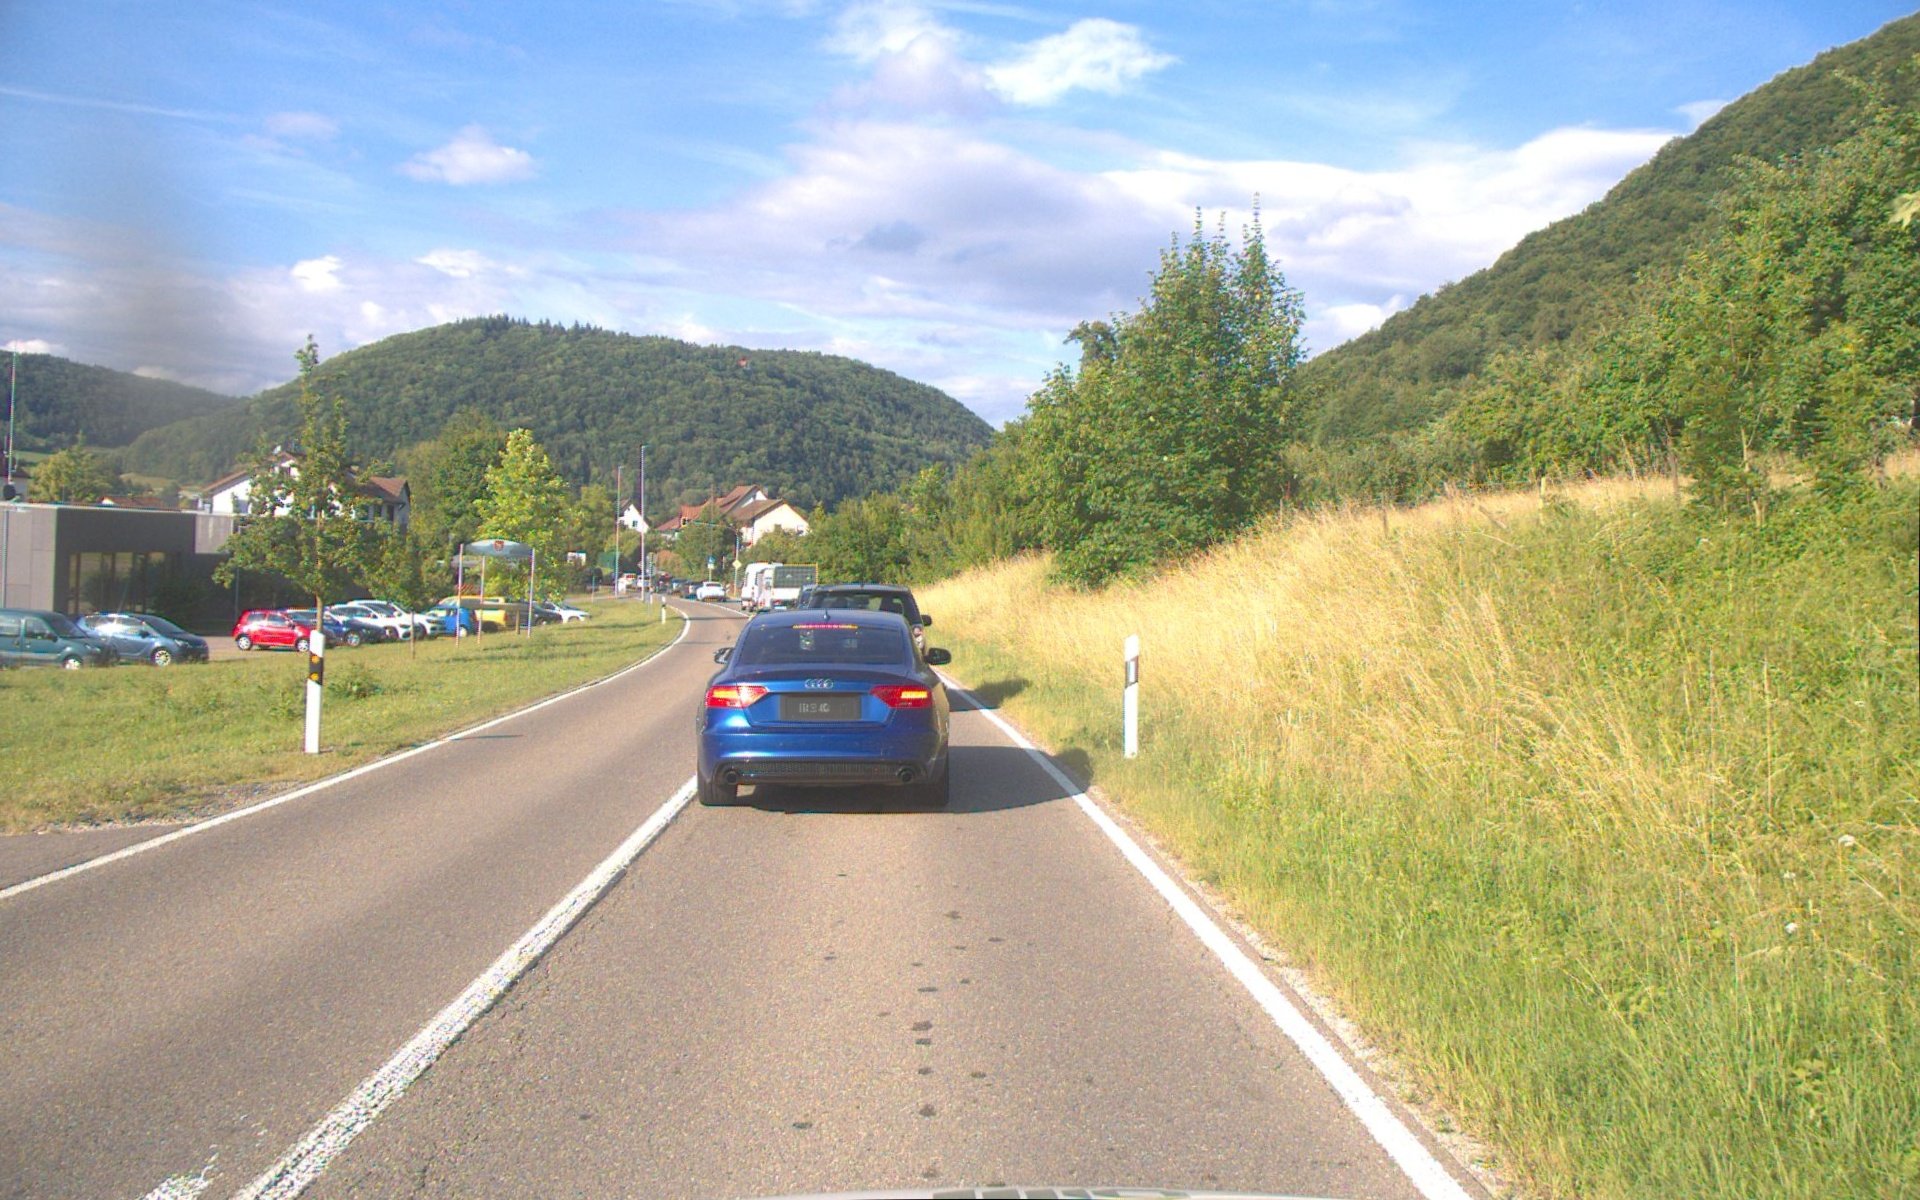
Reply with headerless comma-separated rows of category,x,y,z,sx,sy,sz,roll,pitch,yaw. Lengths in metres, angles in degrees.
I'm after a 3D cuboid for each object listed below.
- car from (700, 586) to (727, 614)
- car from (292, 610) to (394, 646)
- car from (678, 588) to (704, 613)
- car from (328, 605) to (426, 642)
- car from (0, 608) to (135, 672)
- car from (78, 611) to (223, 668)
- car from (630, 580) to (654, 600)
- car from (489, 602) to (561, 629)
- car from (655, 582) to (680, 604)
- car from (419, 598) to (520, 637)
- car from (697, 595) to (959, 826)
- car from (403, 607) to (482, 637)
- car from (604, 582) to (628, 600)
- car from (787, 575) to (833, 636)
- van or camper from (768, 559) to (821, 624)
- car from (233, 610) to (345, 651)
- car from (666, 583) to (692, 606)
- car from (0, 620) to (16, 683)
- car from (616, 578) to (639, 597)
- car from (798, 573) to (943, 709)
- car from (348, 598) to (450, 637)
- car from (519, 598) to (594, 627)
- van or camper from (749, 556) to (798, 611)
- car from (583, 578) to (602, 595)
car,-17.906,-0.009,120.092,1.631,1.958,3.986,-1,0,-13
car,-25.190,1.142,67.538,3.548,1.429,1.597,0,0,4
car,-21.468,0.071,131.997,1.632,1.958,3.984,-1,0,-15
car,-24.918,0.989,70.771,3.589,1.520,1.598,0,1,4
car,-26.156,1.136,47.758,3.782,1.752,1.756,1,0,1
car,-25.576,1.224,52.333,3.738,1.752,1.733,0,0,3
car,-31.782,-0.958,165.073,1.653,1.958,3.974,-1,0,-22
car,-24.405,0.867,92.828,3.634,1.464,1.510,0,0,4
car,-27.166,-0.642,153.532,1.652,1.958,3.977,-1,0,-20
car,-24.467,0.882,82.619,4.457,1.847,1.841,0,-3,4
car,-0.995,0.717,12.634,1.708,1.476,3.514,0,0,-4
car,-25.028,1.046,80.044,3.302,1.397,1.659,0,0,-4
car,-37.782,-1.000,181.648,1.927,1.958,3.975,-1,0,-21
car,-5.277,0.167,58.165,1.537,2.049,3.995,-1,0,-5
van or camper,-6.825,-0.340,67.760,2.013,2.549,5.802,-1,0,-7
car,-25.324,1.142,62.476,3.548,1.469,1.649,0,0,4
car,-24.476,-0.493,143.801,1.634,1.958,3.979,-1,0,-18
car,-26.424,1.333,42.083,3.837,1.606,1.756,0,0,3
car,-35.010,-1.257,174.060,1.654,1.958,3.972,-1,0,-23
car,-1.274,0.503,22.269,1.615,1.653,3.510,2,0,-8
car,-25.063,0.766,73.978,3.991,1.702,1.597,0,0,4
car,-23.674,0.723,97.210,3.951,1.689,1.656,0,0,4
van or camper,-9.784,-0.839,86.451,2.239,2.761,5.754,-1,0,-10
car,-42.900,-1.590,193.083,1.653,1.958,3.975,-1,0,-21
